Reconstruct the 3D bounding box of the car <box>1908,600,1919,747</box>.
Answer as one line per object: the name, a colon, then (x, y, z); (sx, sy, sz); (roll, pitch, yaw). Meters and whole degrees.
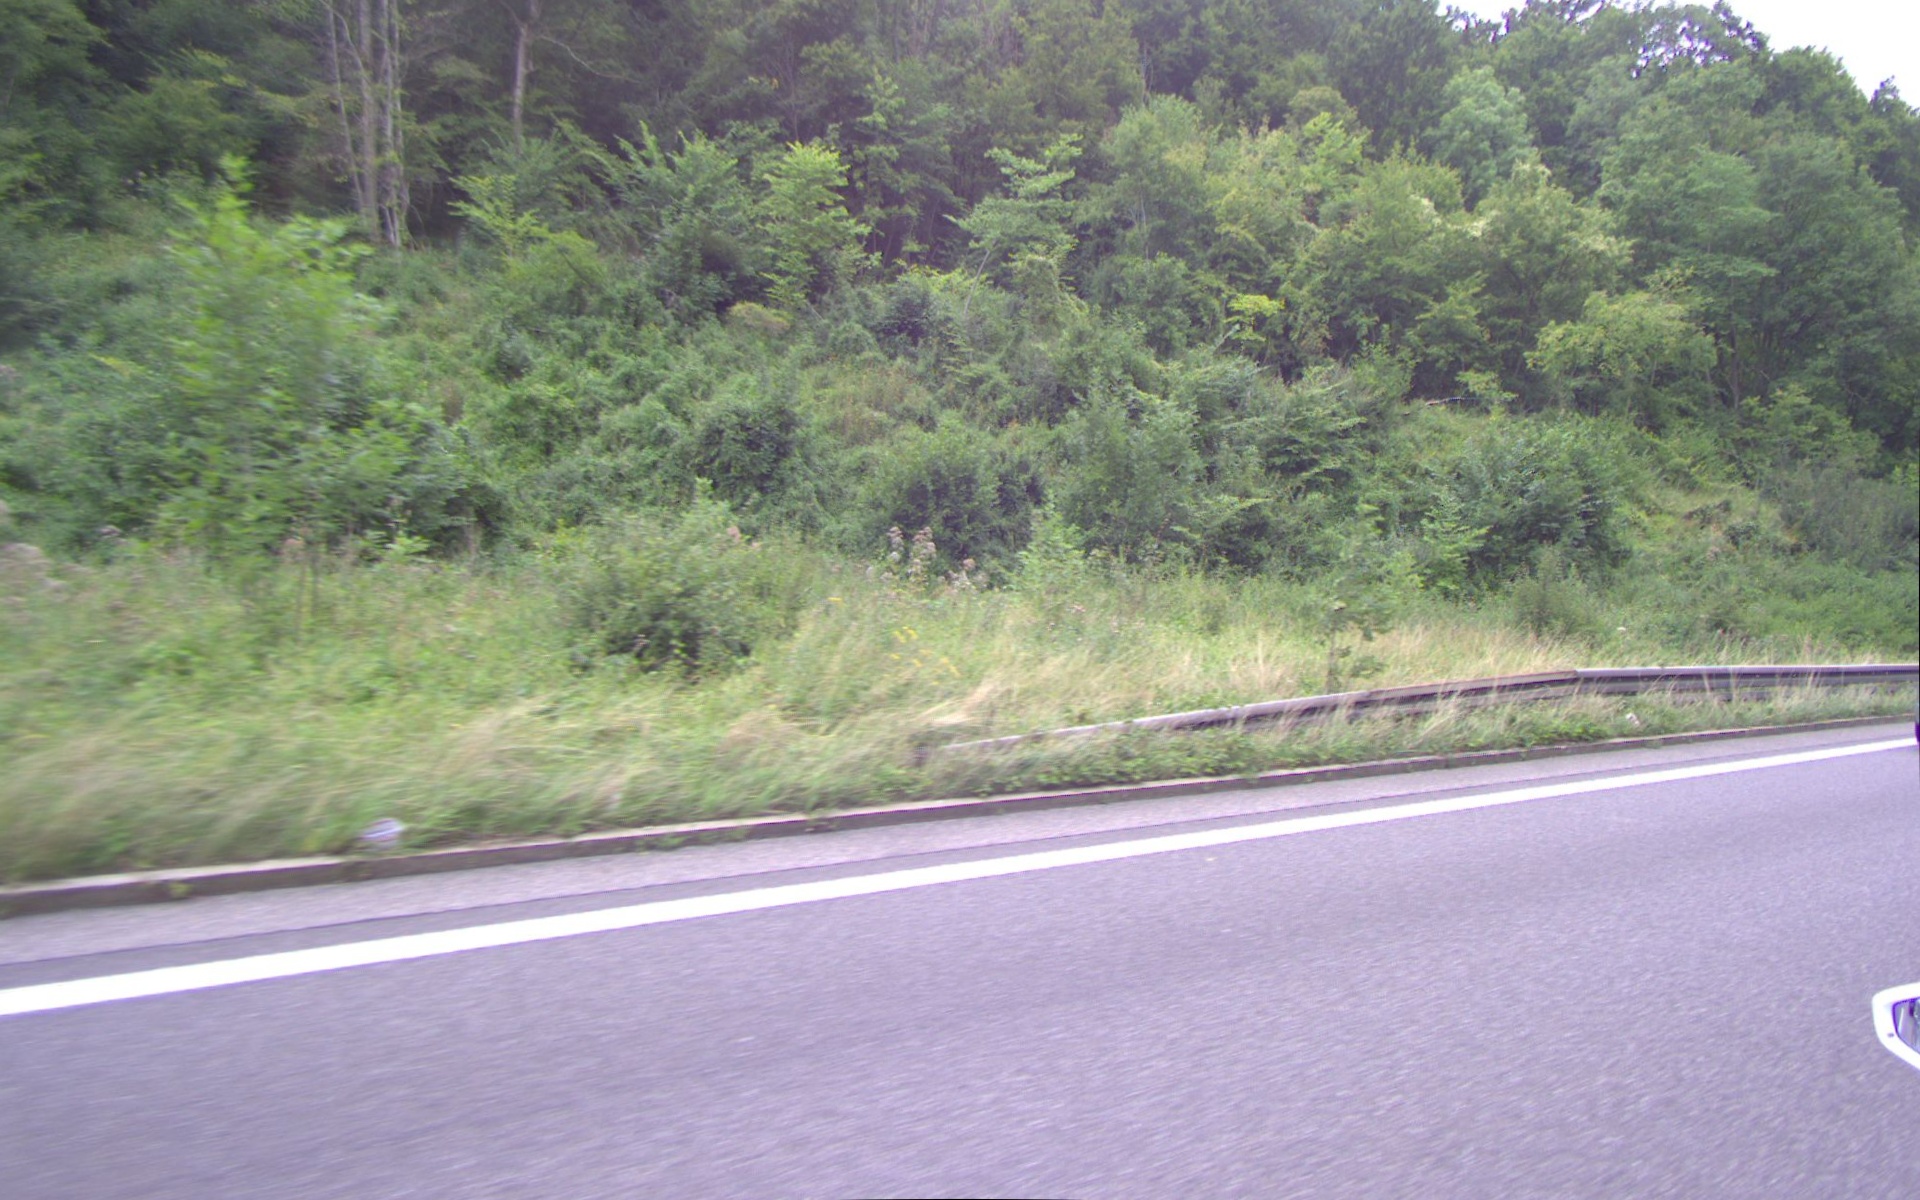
car: (13.628, 0.934, 12.577); (4.299, 1.749, 1.624); (2, -1, -34)
